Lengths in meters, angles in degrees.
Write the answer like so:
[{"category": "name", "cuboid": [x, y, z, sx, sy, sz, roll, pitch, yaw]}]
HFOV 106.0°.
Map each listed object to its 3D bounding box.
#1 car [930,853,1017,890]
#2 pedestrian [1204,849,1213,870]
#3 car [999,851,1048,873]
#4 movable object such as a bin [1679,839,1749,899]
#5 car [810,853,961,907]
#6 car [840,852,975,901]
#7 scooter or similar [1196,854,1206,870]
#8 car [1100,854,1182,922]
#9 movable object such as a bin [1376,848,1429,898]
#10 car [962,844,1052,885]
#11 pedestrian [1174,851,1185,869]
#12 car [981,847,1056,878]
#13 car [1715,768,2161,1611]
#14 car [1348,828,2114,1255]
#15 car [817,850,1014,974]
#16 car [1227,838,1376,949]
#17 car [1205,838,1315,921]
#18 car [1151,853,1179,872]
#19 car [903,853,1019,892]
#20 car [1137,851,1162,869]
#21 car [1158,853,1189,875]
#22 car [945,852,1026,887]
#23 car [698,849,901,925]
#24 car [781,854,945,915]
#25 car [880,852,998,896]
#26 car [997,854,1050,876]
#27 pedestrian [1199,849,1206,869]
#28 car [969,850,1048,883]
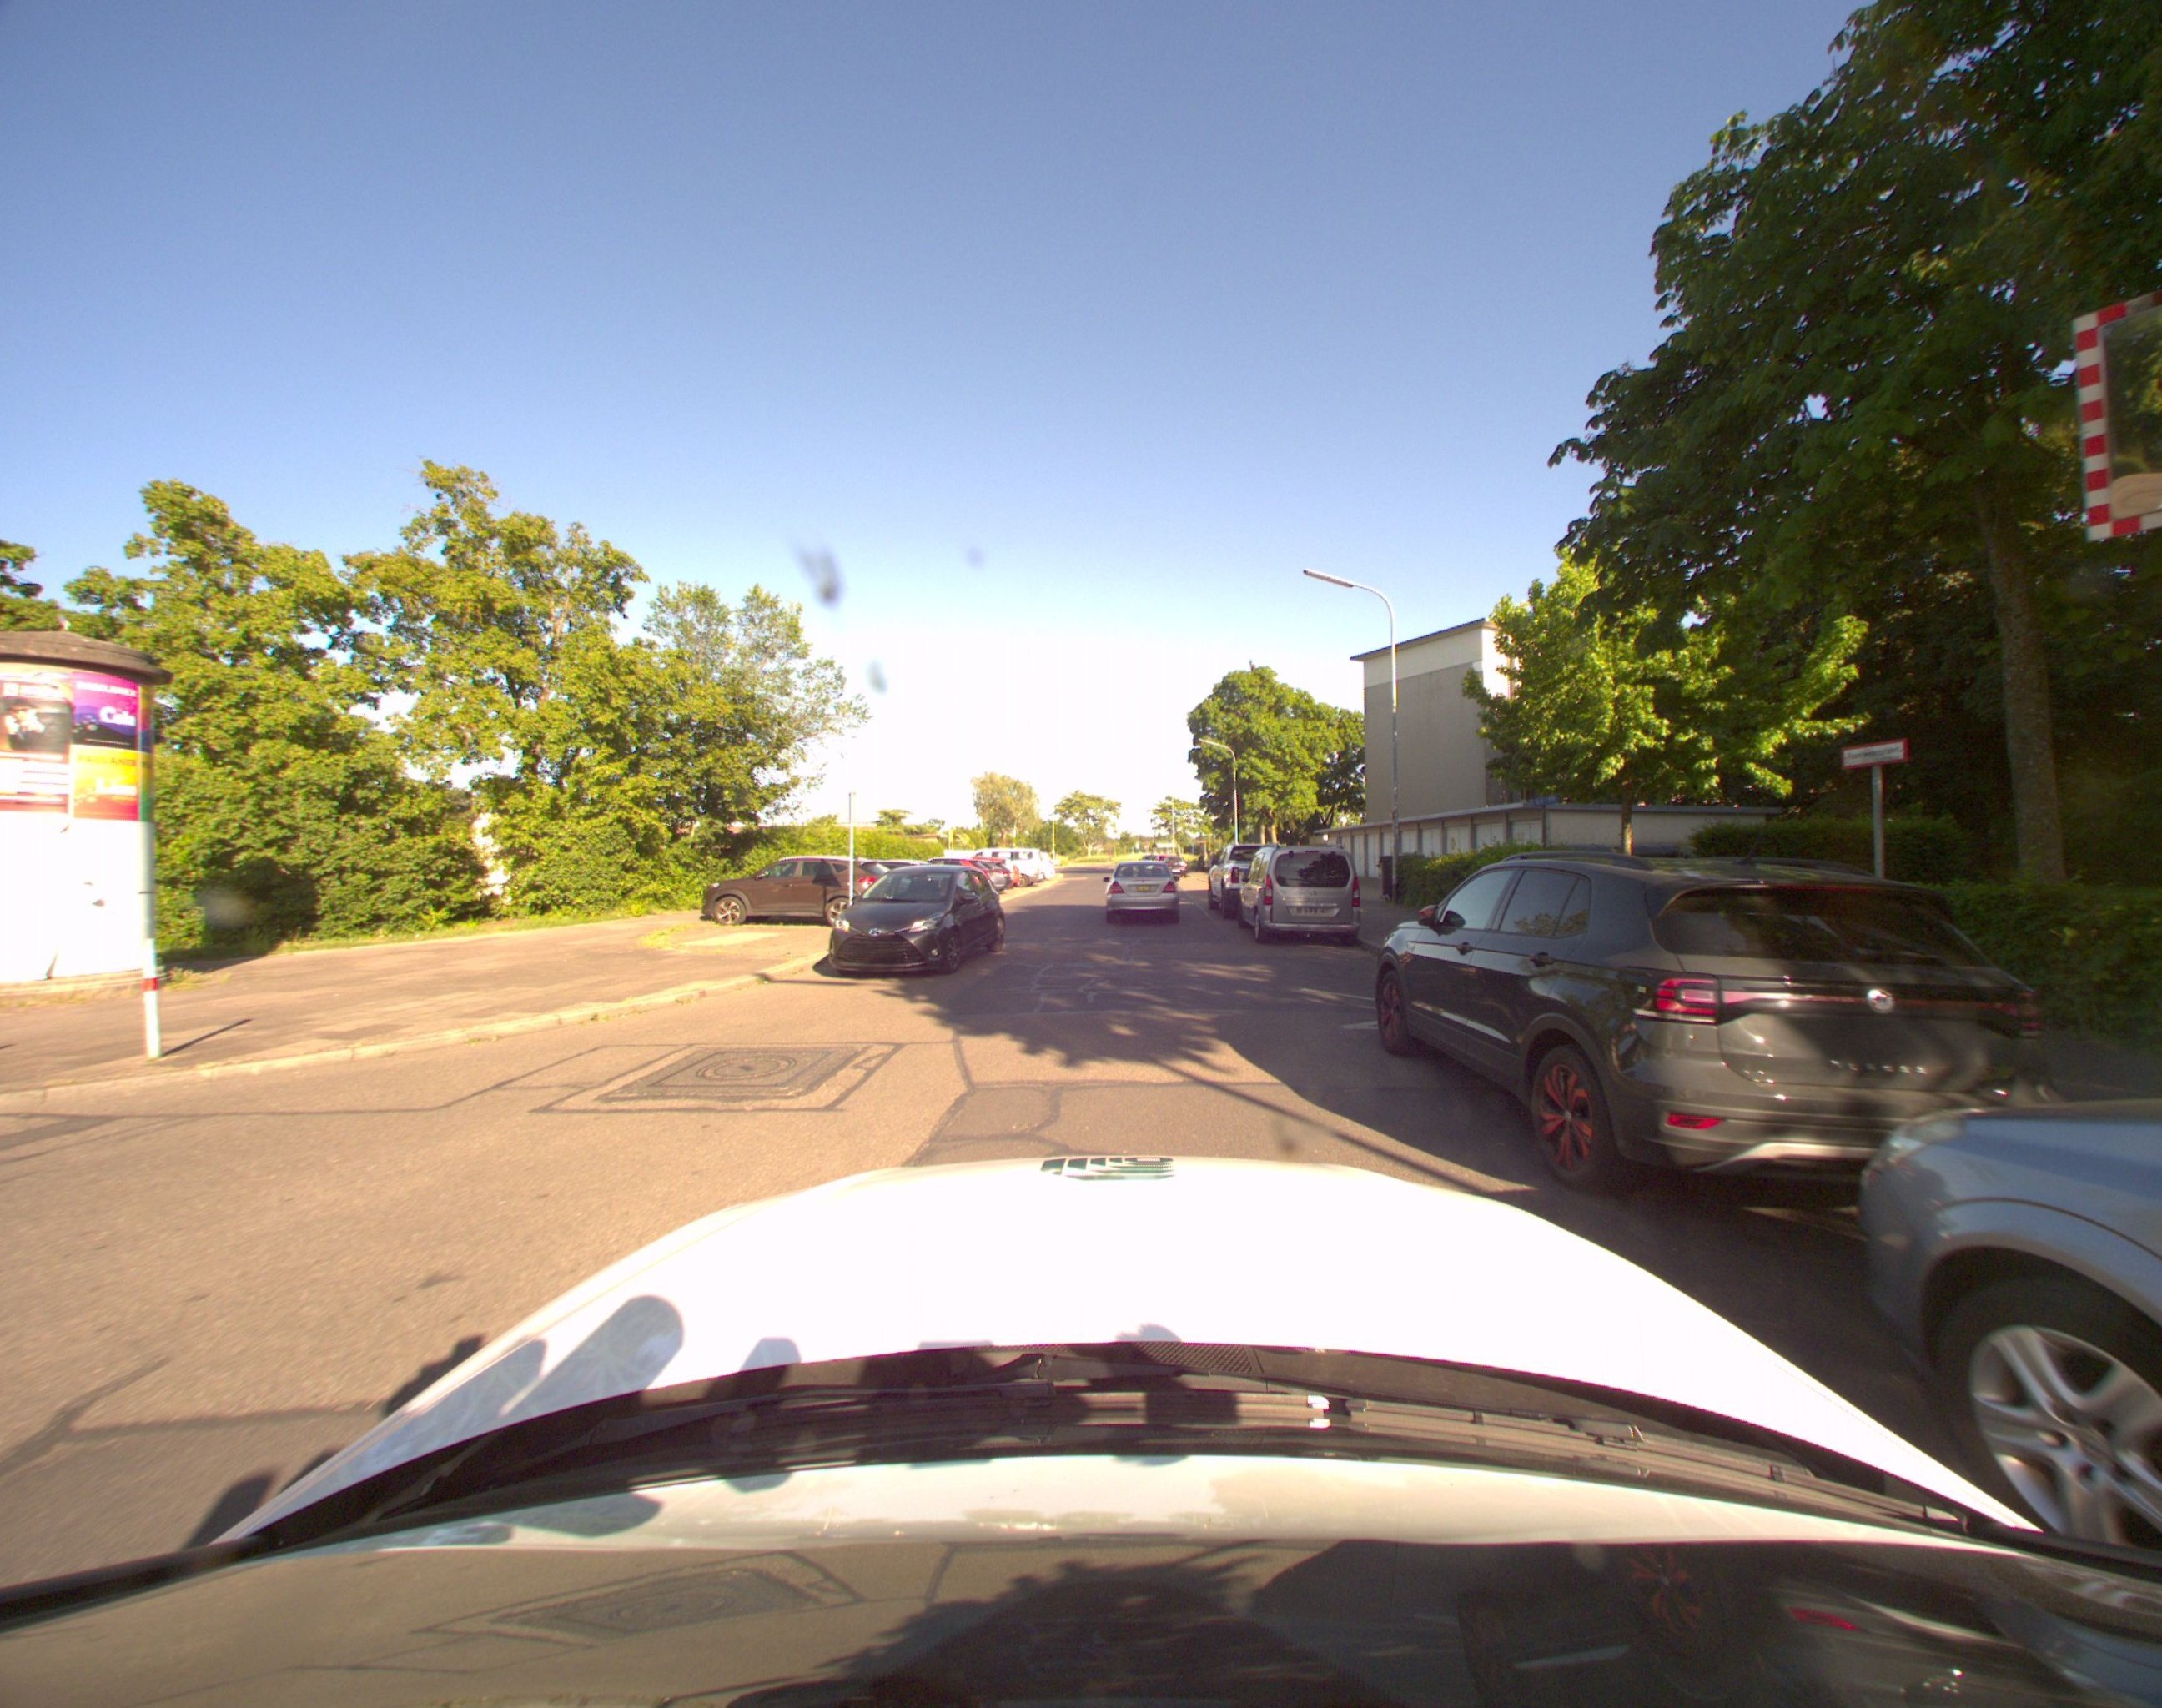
[{"category": "car", "cuboid": [-4.879, 0.781, 37.280, 3.586, 1.567, 1.883, 1, 0, 3]}, {"category": "pedestrian", "cuboid": [9.889, 0.410, 63.102, 0.484, 1.565, 0.468, -2, -2, -5]}, {"category": "car", "cuboid": [-4.734, 0.611, 67.268, 3.970, 1.780, 1.923, 0, 0, -4]}, {"category": "movable object such as a bin", "cuboid": [15.467, 0.370, 19.925, 1.069, 1.417, 0.835, -1, -1, 9]}, {"category": "car", "cuboid": [-5.869, 0.771, 24.799, 4.077, 1.512, 1.813, 1, -1, 1]}, {"category": "car", "cuboid": [-5.728, 0.740, 27.204, 4.003, 1.512, 1.906, 1, -1, 1]}, {"category": "scooter or similar", "cuboid": [9.292, 0.606, 63.184, 0.621, 1.227, 0.905, -2, -1, -1]}, {"category": "car", "cuboid": [1.436, 0.749, 20.107, 1.809, 1.463, 4.364, 0, 0, 3]}, {"category": "movable object such as a bin", "cuboid": [8.995, 0.531, 22.825, 1.241, 1.347, 1.057, -1, -1, 15]}, {"category": "car", "cuboid": [-3.835, 0.550, 42.862, 4.461, 1.977, 2.001, 1, -1, 2]}, {"category": "pedestrian", "cuboid": [8.398, 0.516, 69.476, 0.785, 1.565, 0.569, 1, -1, -1]}, {"category": "car", "cuboid": [-4.114, 0.561, 54.445, 4.774, 1.921, 2.081, 1, -1, -1]}, {"category": "car", "cuboid": [2.914, 0.644, 0.520, 1.761, 1.610, 4.375, 1, -1, 2]}, {"category": "car", "cuboid": [3.157, 0.718, 5.157, 1.796, 1.594, 4.027, 1, 0, 3]}, {"category": "car", "cuboid": [-2.316, 0.780, 12.503, 1.640, 1.556, 4.011, -2, -1, 8]}, {"category": "car", "cuboid": [4.059, 0.616, 15.771, 1.826, 1.791, 4.559, 1, 1, 3]}, {"category": "car", "cuboid": [4.436, 0.548, 20.979, 1.899, 1.840, 5.279, 1, 1, 3]}, {"category": "car", "cuboid": [6.447, 0.657, 62.917, 1.572, 1.446, 3.785, 0, -1, -3]}, {"category": "car", "cuboid": [-5.013, 0.768, 34.279, 4.524, 1.479, 1.749, 1, 0, 3]}, {"category": "car", "cuboid": [6.099, 0.533, 72.589, 1.727, 1.543, 3.785, 0, -1, -3]}, {"category": "car", "cuboid": [6.246, 0.680, 55.186, 1.642, 1.403, 3.882, -1, -1, 0]}, {"category": "car", "cuboid": [-4.628, 0.725, 39.721, 3.586, 1.567, 1.854, 1, 0, 3]}, {"category": "car", "cuboid": [-6.689, 0.762, 19.685, 4.171, 1.656, 1.847, 1, -1, 1]}, {"category": "car", "cuboid": [-5.954, 0.825, 22.596, 3.972, 1.532, 1.832, 1, -1, 1]}, {"category": "car", "cuboid": [-5.240, 0.715, 30.337, 3.970, 1.479, 1.792, 1, 0, 3]}, {"category": "car", "cuboid": [-4.021, 0.743, 57.059, 3.501, 1.446, 1.637, 1, -1, 1]}, {"category": "pedestrian", "cuboid": [9.622, 0.391, 64.321, 0.478, 1.565, 0.598, -3, -2, 9]}, {"category": "car", "cuboid": [-3.998, 0.686, 45.383, 4.134, 1.706, 1.885, 1, -1, 3]}]
